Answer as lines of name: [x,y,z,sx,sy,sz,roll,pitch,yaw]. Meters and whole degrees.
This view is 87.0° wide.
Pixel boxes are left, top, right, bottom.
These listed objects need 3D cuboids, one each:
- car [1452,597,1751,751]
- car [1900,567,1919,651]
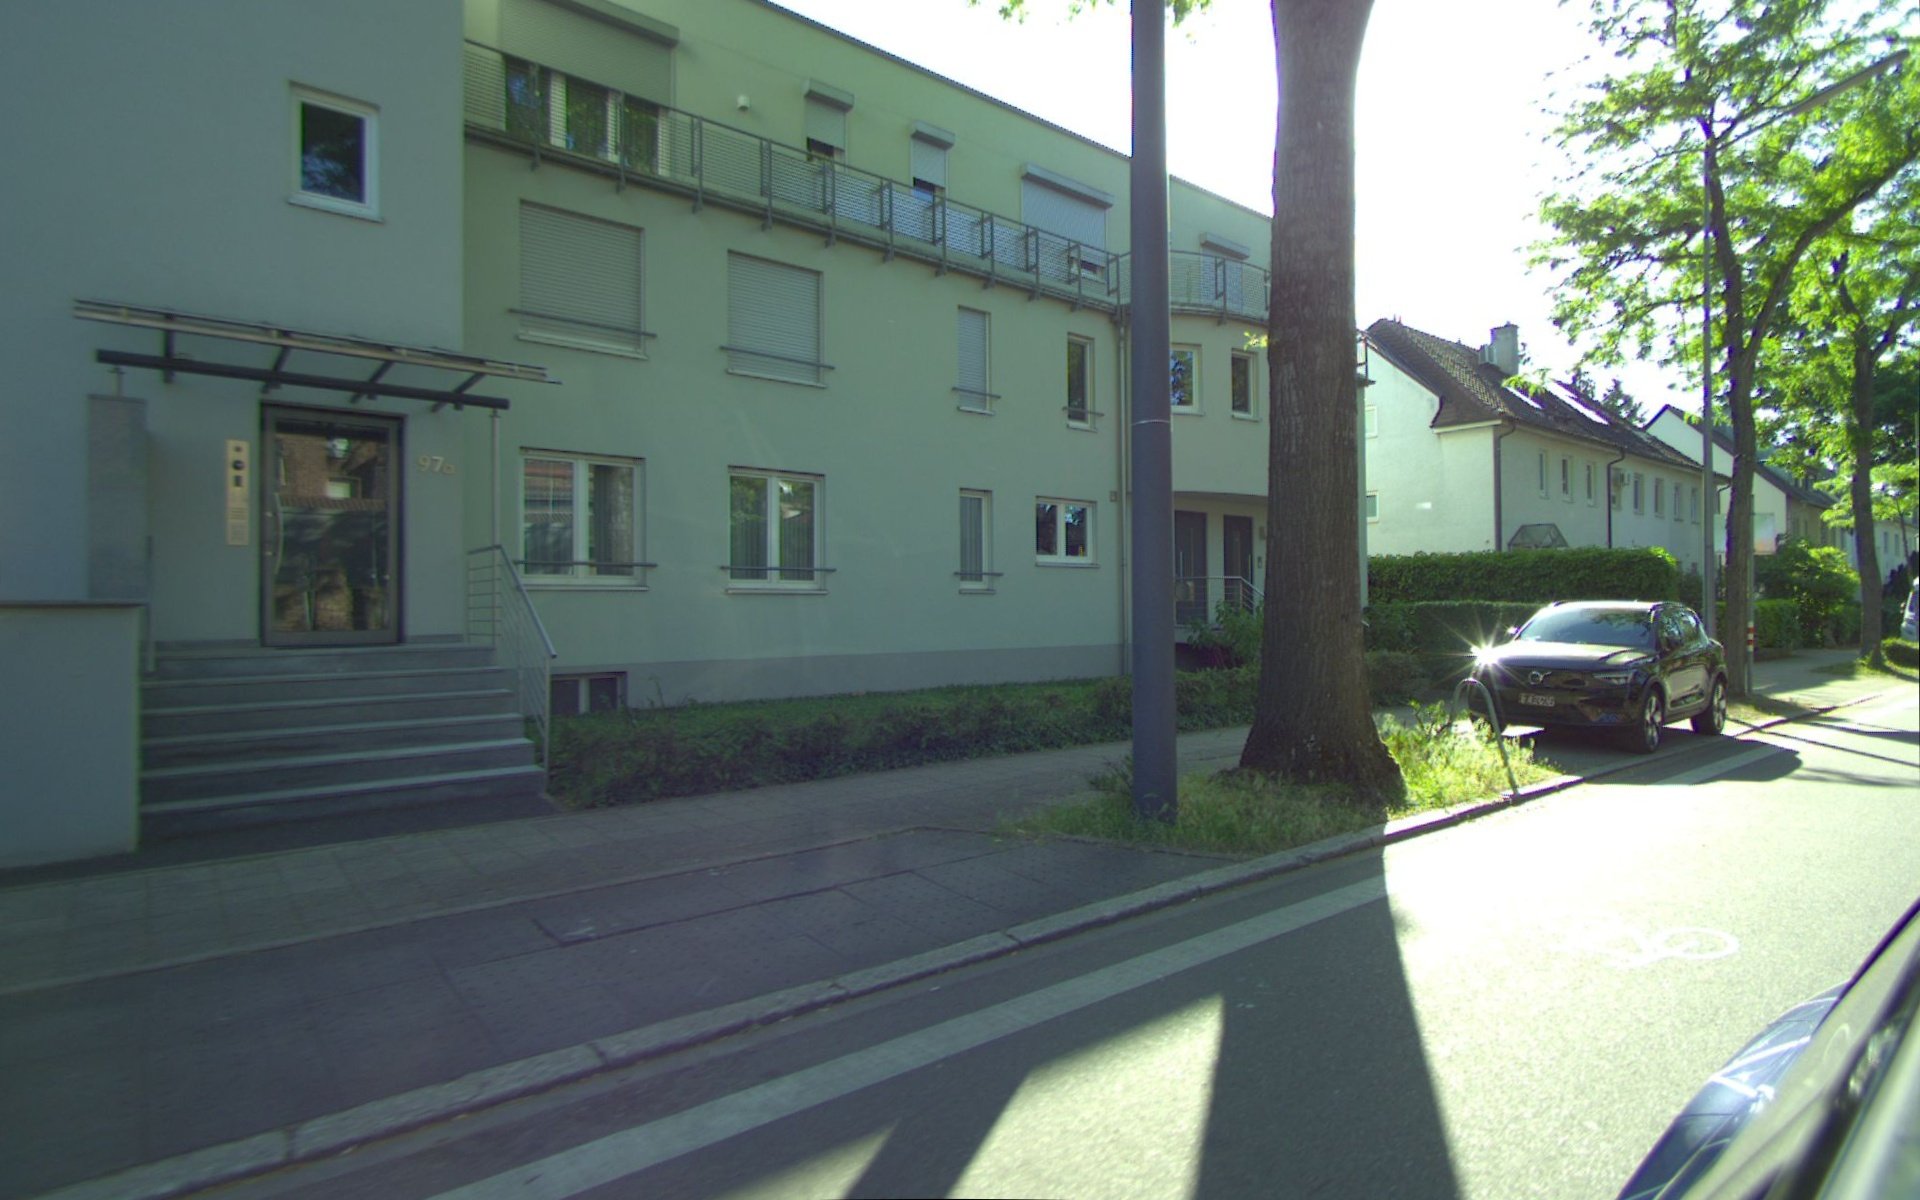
car: [7.995,0.754,12.427,4.568,1.538,1.878,0,-1,-41]
car: [32.460,0.246,32.685,5.616,2.623,2.296,0,-1,-39]
